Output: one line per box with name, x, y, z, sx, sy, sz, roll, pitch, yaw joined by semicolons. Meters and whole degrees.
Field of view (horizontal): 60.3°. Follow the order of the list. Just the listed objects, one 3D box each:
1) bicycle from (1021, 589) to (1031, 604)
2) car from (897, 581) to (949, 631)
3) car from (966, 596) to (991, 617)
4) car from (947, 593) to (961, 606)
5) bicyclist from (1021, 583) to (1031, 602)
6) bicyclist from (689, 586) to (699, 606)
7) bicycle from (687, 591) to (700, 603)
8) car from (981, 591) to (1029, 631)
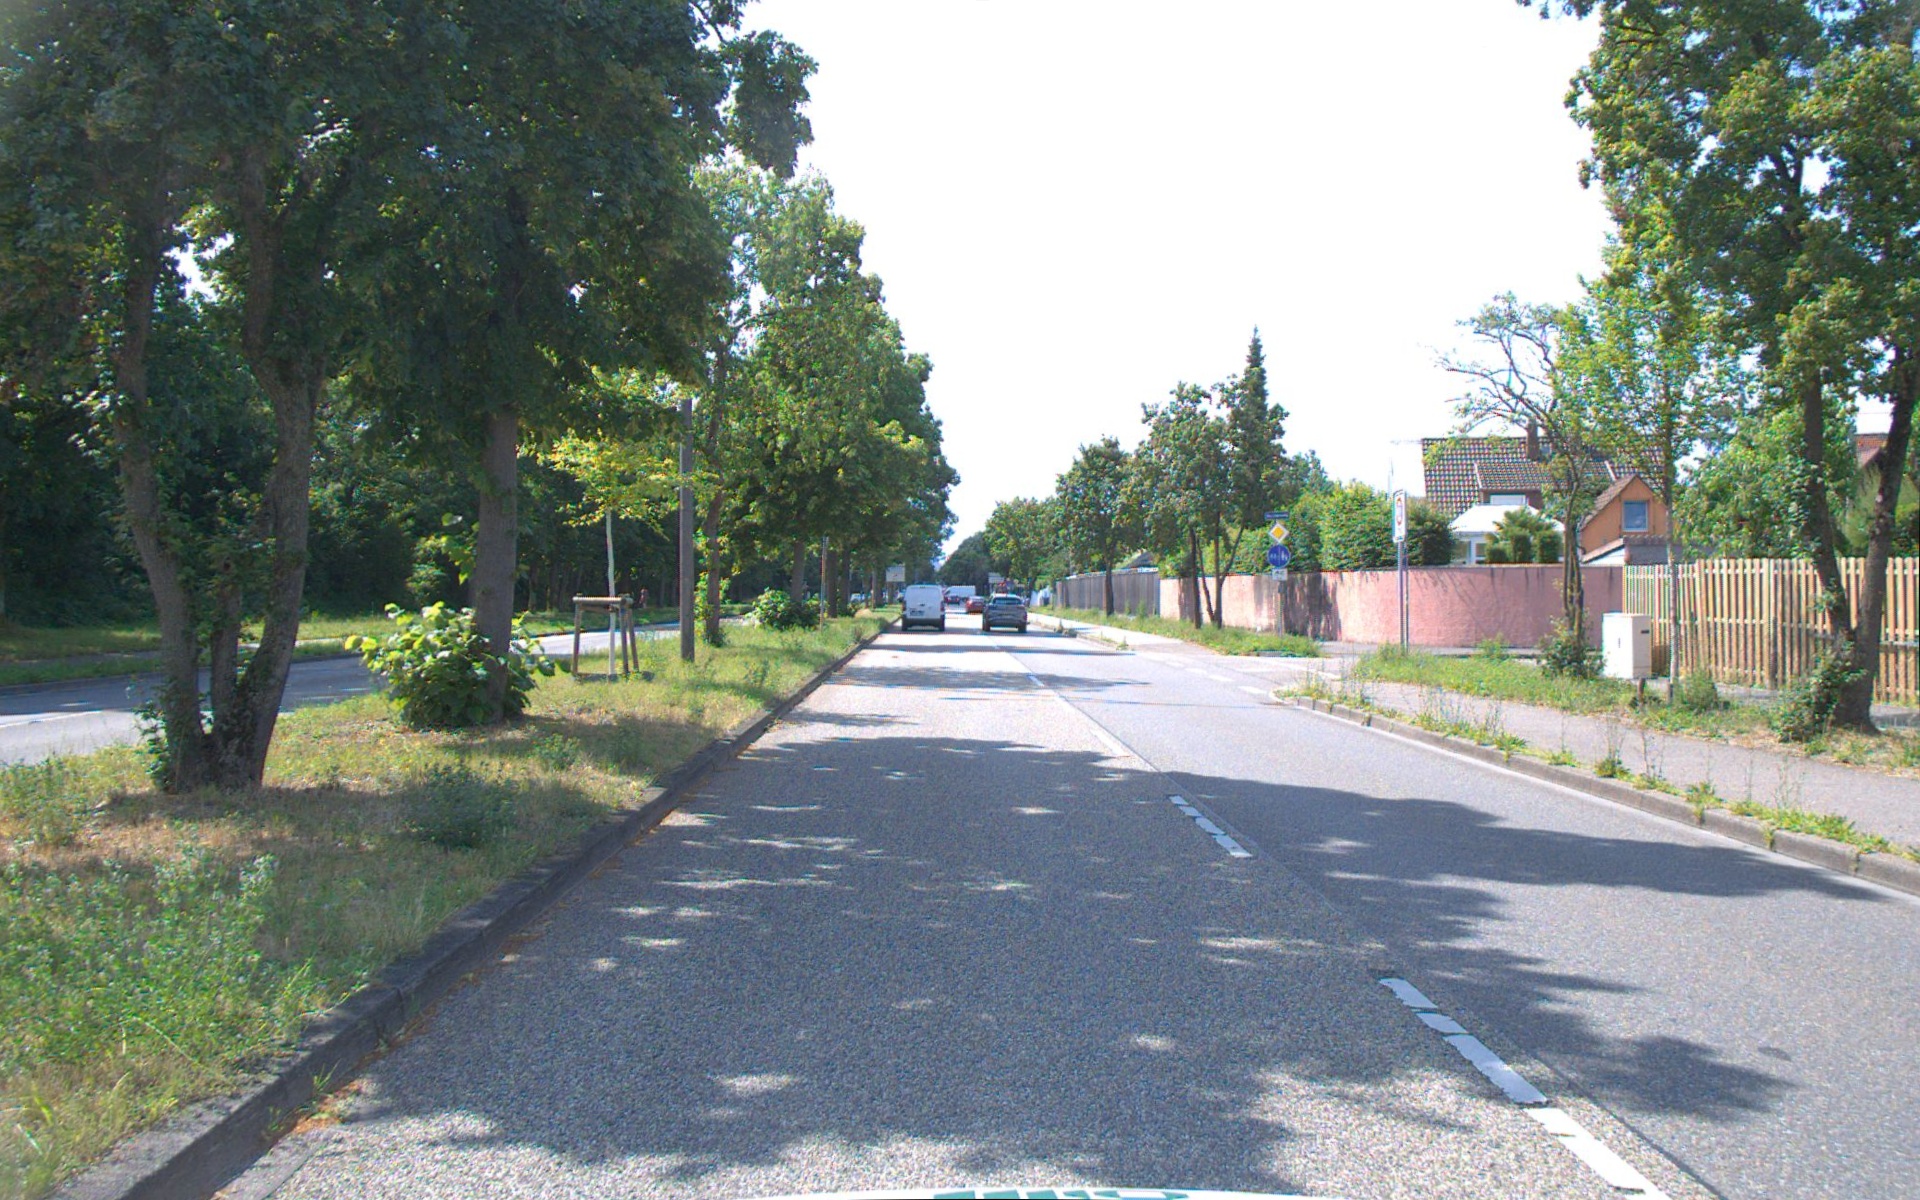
bicycle;5.167;-0.268;129.034;0.633;1.086;2.278;-2;0;0
car;-1.493;0.217;67.882;2.024;1.945;4.645;1;0;-1
car;1.444;0.481;130.934;1.842;1.615;3.999;1;0;-1
car;-0.897;-0.086;237.096;1.953;1.803;4.146;2;0;-1
bicyclist;5.160;-0.596;129.061;0.641;1.436;0.986;-2;0;0
bicyclist;-19.998;-0.285;124.198;0.605;1.473;0.729;1;0;2
bicycle;-19.998;-0.199;124.210;0.605;0.894;1.915;1;0;2
car;1.870;0.441;69.257;1.837;1.617;4.184;0;0;-1
